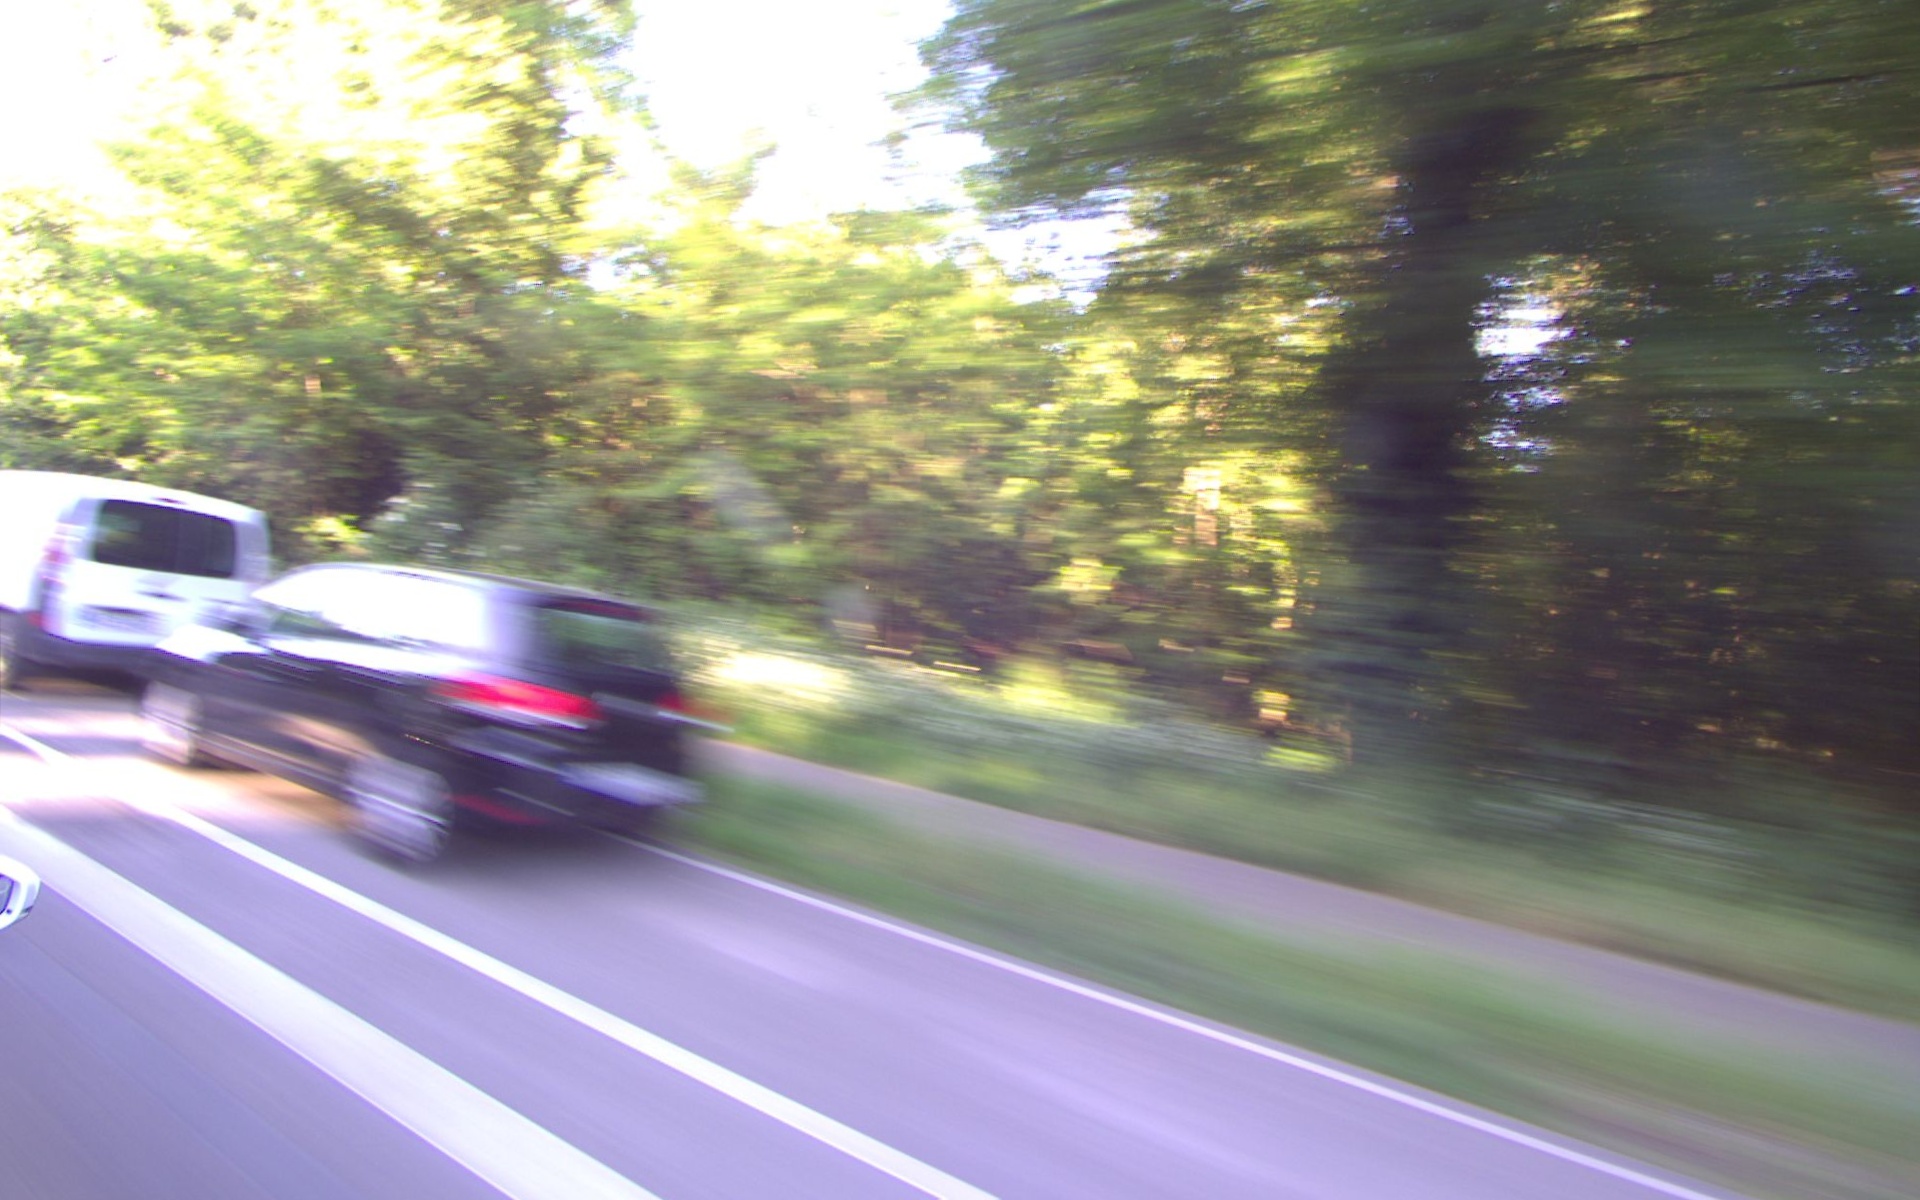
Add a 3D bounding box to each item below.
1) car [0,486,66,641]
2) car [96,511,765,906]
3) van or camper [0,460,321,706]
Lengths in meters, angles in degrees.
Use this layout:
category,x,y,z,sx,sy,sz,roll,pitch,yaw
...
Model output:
category,x,y,z,sx,sy,sz,roll,pitch,yaw
car,-12.733,-0.680,11.975,4.266,1.679,1.839,7,-2,32
car,-3.394,0.472,6.236,4.080,1.541,1.694,7,-2,32
van or camper,-8.354,-0.247,9.511,4.305,1.837,1.956,7,-1,29
